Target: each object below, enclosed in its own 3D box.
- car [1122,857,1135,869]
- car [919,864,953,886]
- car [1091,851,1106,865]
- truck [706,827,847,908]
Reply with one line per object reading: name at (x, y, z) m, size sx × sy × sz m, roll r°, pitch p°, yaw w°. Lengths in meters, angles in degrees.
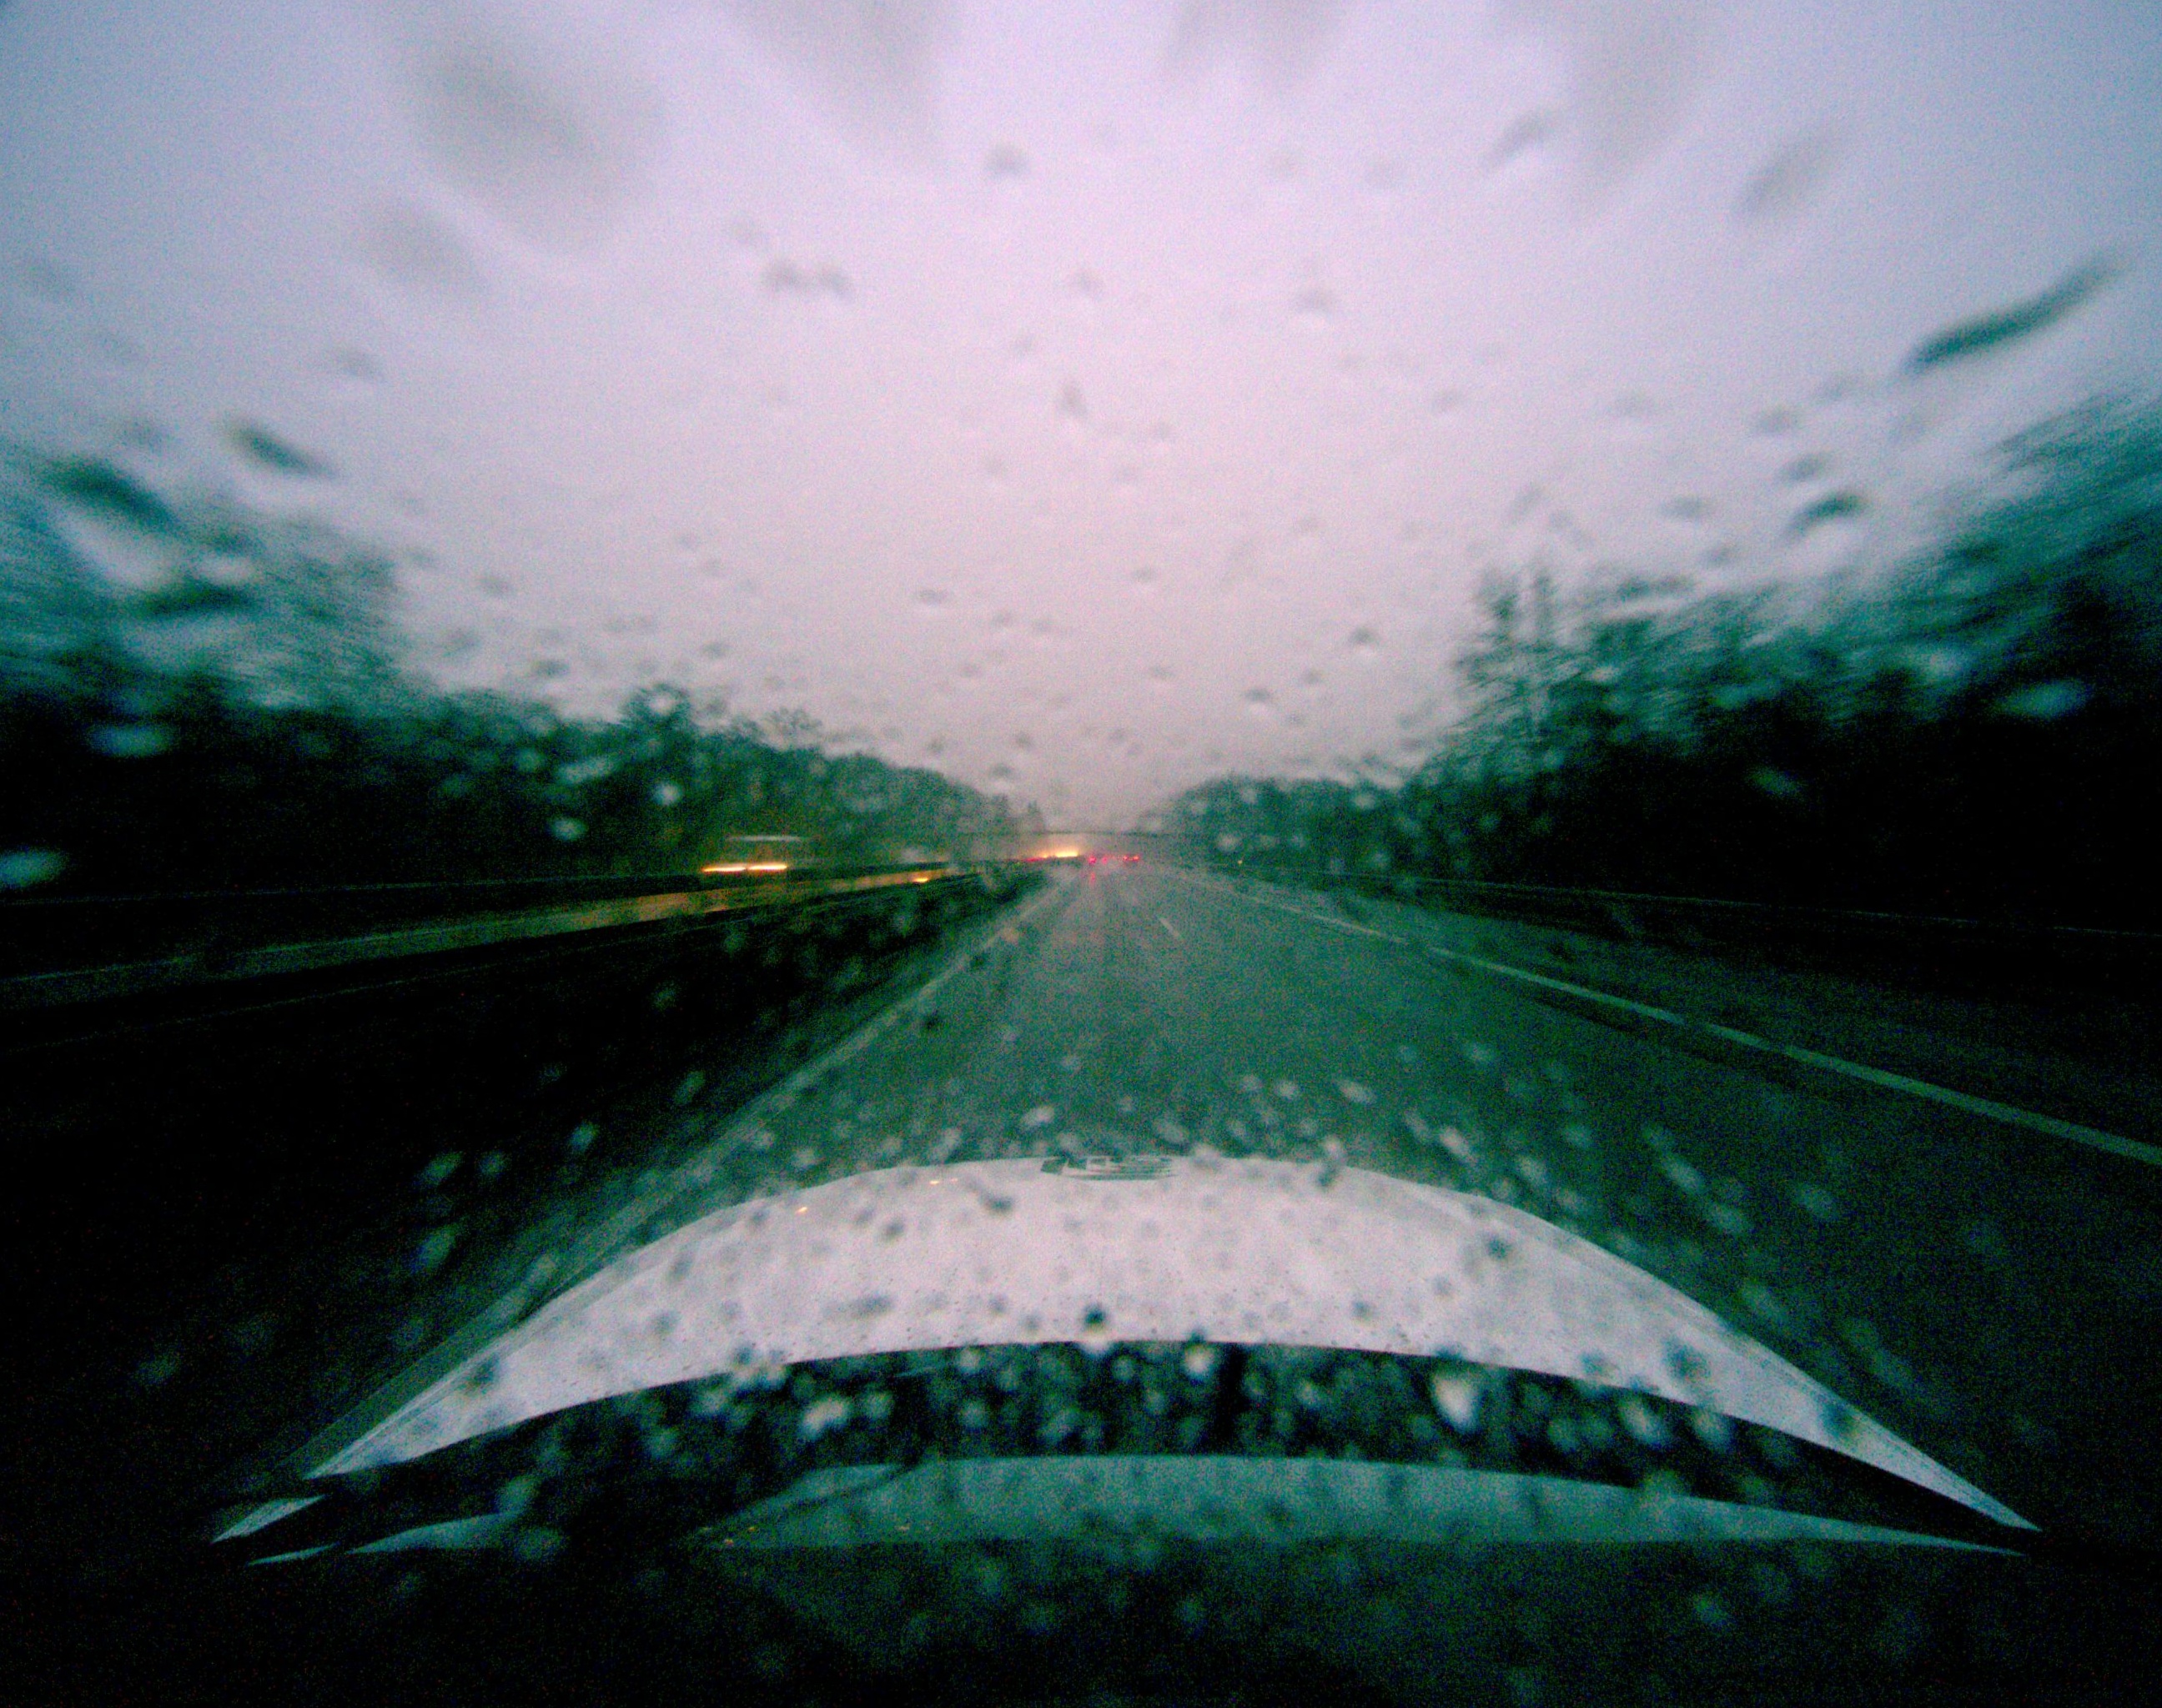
car at (5.933, 1.127, 101.751) m, size 1.448 × 1.429 × 3.491 m, roll 0°, pitch 0°, yaw 2°
car at (-9.985, 1.441, 56.323) m, size 1.493 × 1.396 × 4.055 m, roll -1°, pitch 0°, yaw 2°
car at (1.778, 0.374, 80.221) m, size 1.448 × 1.344 × 3.491 m, roll 0°, pitch 0°, yaw 2°
truck at (-10.835, 0.493, 29.814) m, size 2.245 × 2.541 × 7.080 m, roll 1°, pitch -1°, yaw 2°
